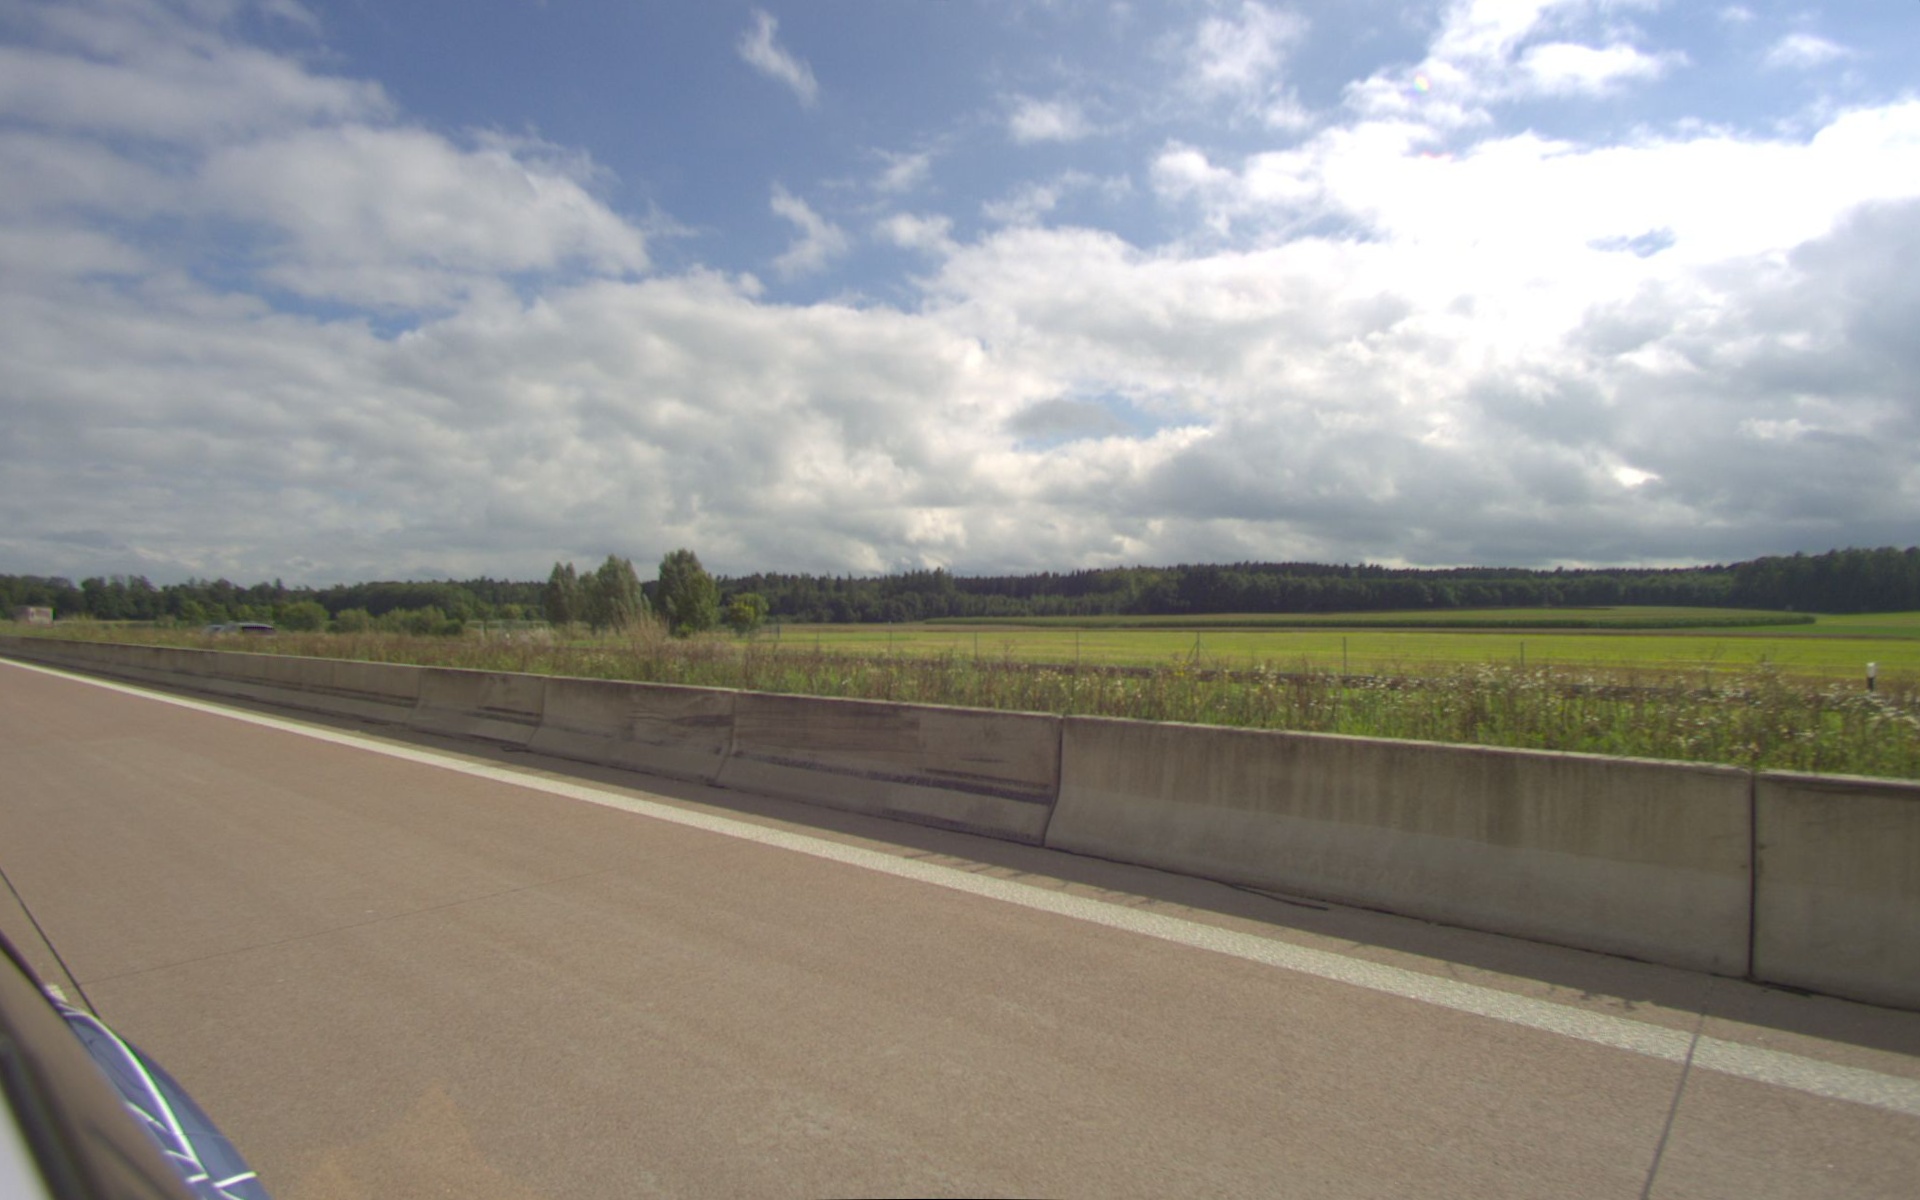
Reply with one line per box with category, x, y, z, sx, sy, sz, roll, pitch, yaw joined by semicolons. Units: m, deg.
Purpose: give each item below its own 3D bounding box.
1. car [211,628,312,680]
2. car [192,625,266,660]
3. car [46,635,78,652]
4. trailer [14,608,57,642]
car;-26.972;2.030;39.006;5.272;1.860;1.972;-1;-2;41
car;-40.402;2.307;55.885;6.100;1.860;1.972;-1;-2;41
car;-103.184;4.989;116.311;5.726;1.860;2.037;-1;-2;42
trailer;-122.988;3.391;134.588;12.091;4.296;2.989;-2;-1;42
